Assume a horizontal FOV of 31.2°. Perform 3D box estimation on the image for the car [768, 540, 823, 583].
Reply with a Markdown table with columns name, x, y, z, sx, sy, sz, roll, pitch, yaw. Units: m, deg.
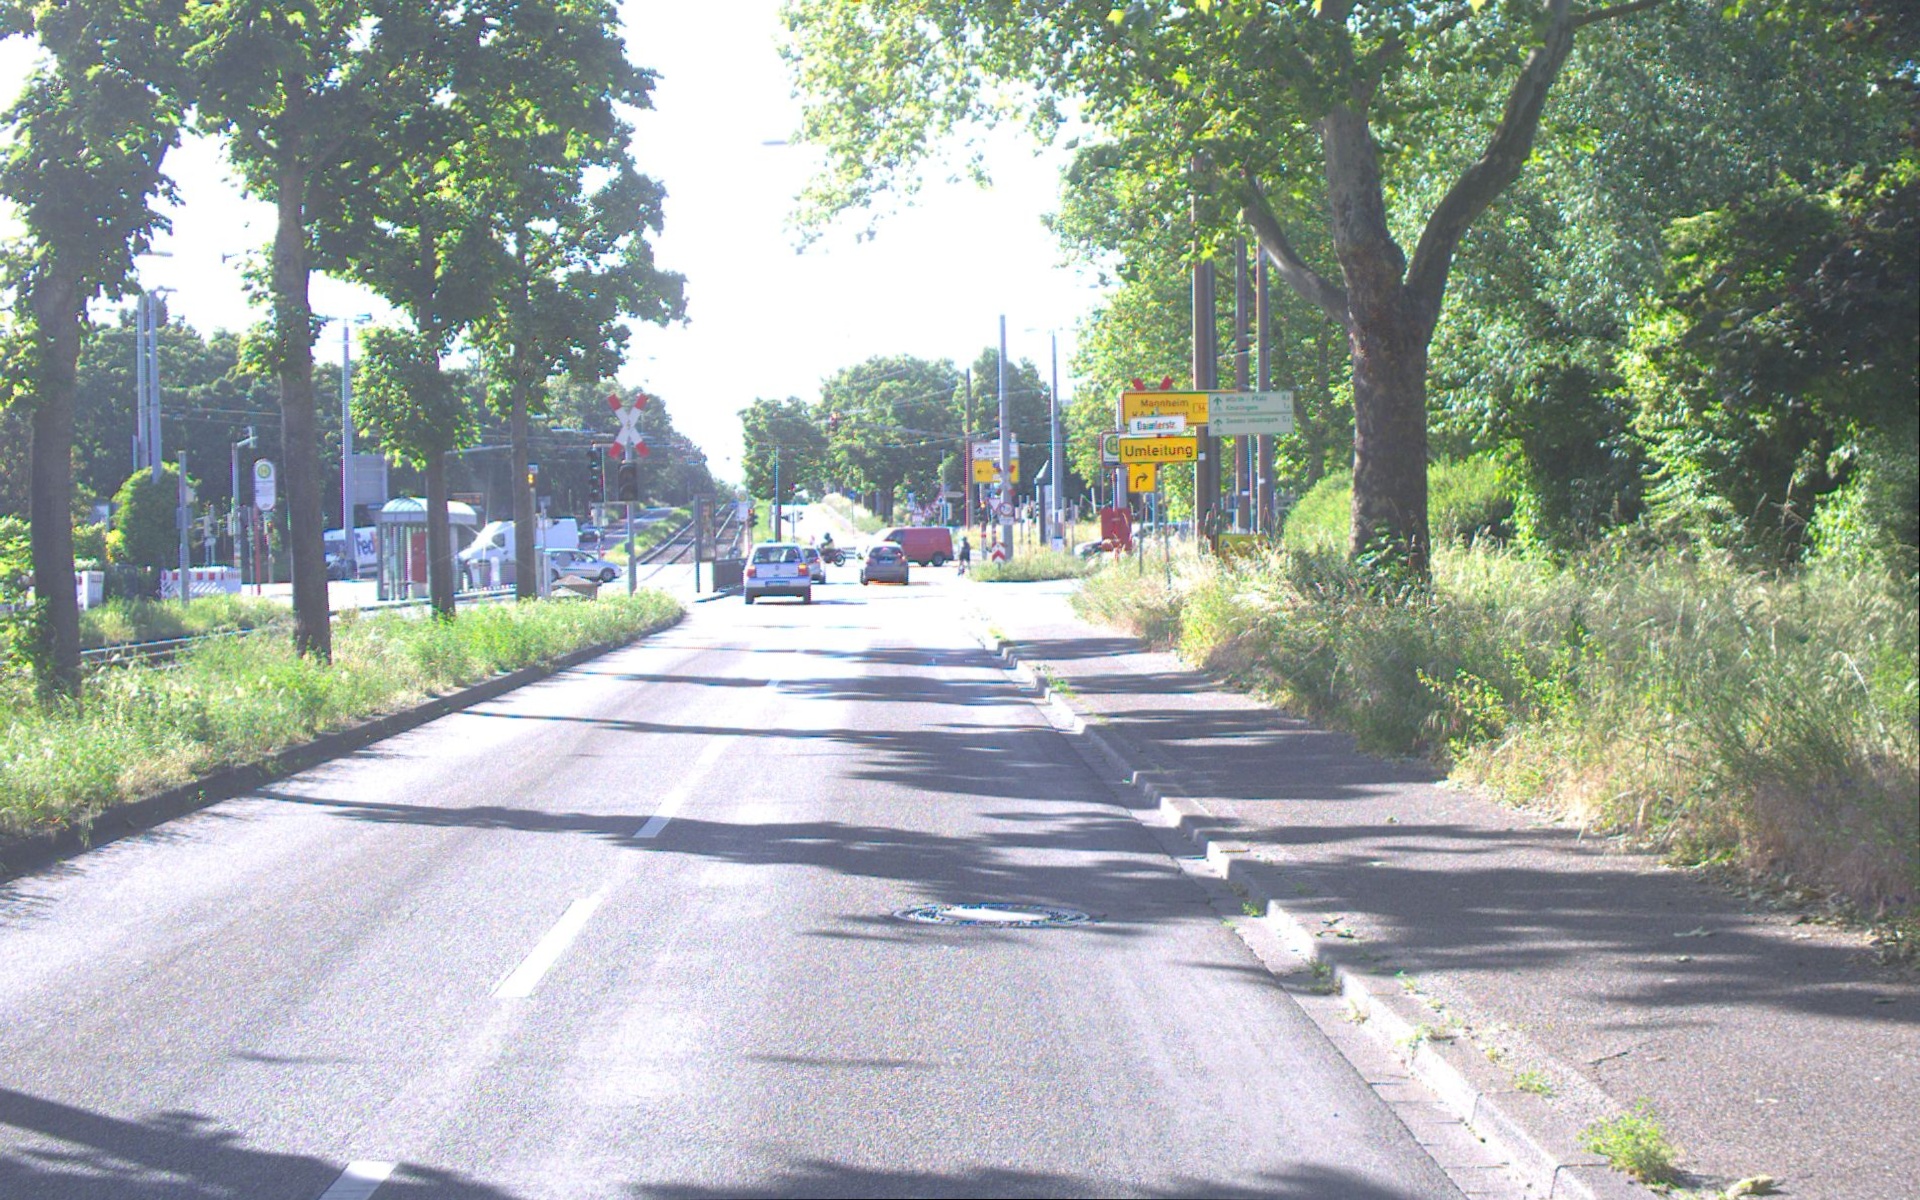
| name | x | y | z | sx | sy | sz | roll | pitch | yaw |
| --- | --- | --- | --- | --- | --- | --- | --- | --- | --- |
| car | -6.303 | -1.483 | 132.006 | 1.993 | 1.598 | 4.474 | 1 | 1 | -1 |

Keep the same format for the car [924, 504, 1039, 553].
| name | x | y | z | sx | sy | sz | roll | pitch | yaw |
| --- | --- | --- | --- | --- | --- | --- | --- | --- | --- |
| car | 1.057 | -3.436 | 165.484 | 5.147 | 2.267 | 2.001 | 0 | 1 | -25 |

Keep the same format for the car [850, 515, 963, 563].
| name | x | y | z | sx | sy | sz | roll | pitch | yaw |
| --- | --- | --- | --- | --- | --- | --- | --- | --- | --- |
| car | -2.601 | -2.990 | 167.946 | 5.147 | 2.267 | 2.001 | 0 | 1 | -25 |

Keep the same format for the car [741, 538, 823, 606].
| name | x | y | z | sx | sy | sz | roll | pitch | yaw |
| --- | --- | --- | --- | --- | --- | --- | --- | --- | --- |
| car | -4.280 | -0.697 | 83.267 | 1.860 | 1.595 | 4.228 | 1 | 1 | -1 |

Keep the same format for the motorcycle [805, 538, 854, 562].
| name | x | y | z | sx | sy | sz | roll | pitch | yaw |
| --- | --- | --- | --- | --- | --- | --- | --- | --- | --- |
| motorcycle | -6.508 | -2.480 | 171.796 | 2.373 | 1.179 | 0.730 | 0 | 1 | -27 |

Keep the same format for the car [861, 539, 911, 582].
| name | x | y | z | sx | sy | sz | roll | pitch | yaw |
| --- | --- | --- | --- | --- | --- | --- | --- | --- | --- |
| car | -2.743 | -1.473 | 126.929 | 1.791 | 1.554 | 4.228 | 1 | 1 | -1 |

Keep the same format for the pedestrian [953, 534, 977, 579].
| name | x | y | z | sx | sy | sz | roll | pitch | yaw |
| --- | --- | --- | --- | --- | --- | --- | --- | --- | --- |
| pedestrian | 0.211 | -1.789 | 140.307 | 0.926 | 1.829 | 0.638 | 1 | 1 | 4 |

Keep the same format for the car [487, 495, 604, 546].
| name | x | y | z | sx | sy | sz | roll | pitch | yaw |
| --- | --- | --- | --- | --- | --- | --- | --- | --- | --- |
| car | -19.912 | -3.808 | 165.322 | 5.243 | 2.346 | 1.866 | 0 | 1 | -29 |

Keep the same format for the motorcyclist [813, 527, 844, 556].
| name | x | y | z | sx | sy | sz | roll | pitch | yaw |
| --- | --- | --- | --- | --- | --- | --- | --- | --- | --- |
| motorcyclist | -6.573 | -2.911 | 171.755 | 1.315 | 1.444 | 0.730 | 0 | 1 | -27 |

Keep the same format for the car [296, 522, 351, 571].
| name | x | y | z | sx | sy | sz | roll | pitch | yaw |
| --- | --- | --- | --- | --- | --- | --- | --- | --- | --- |
| car | -30.972 | -2.591 | 167.368 | 2.088 | 2.346 | 5.262 | 0 | 1 | -5 |
